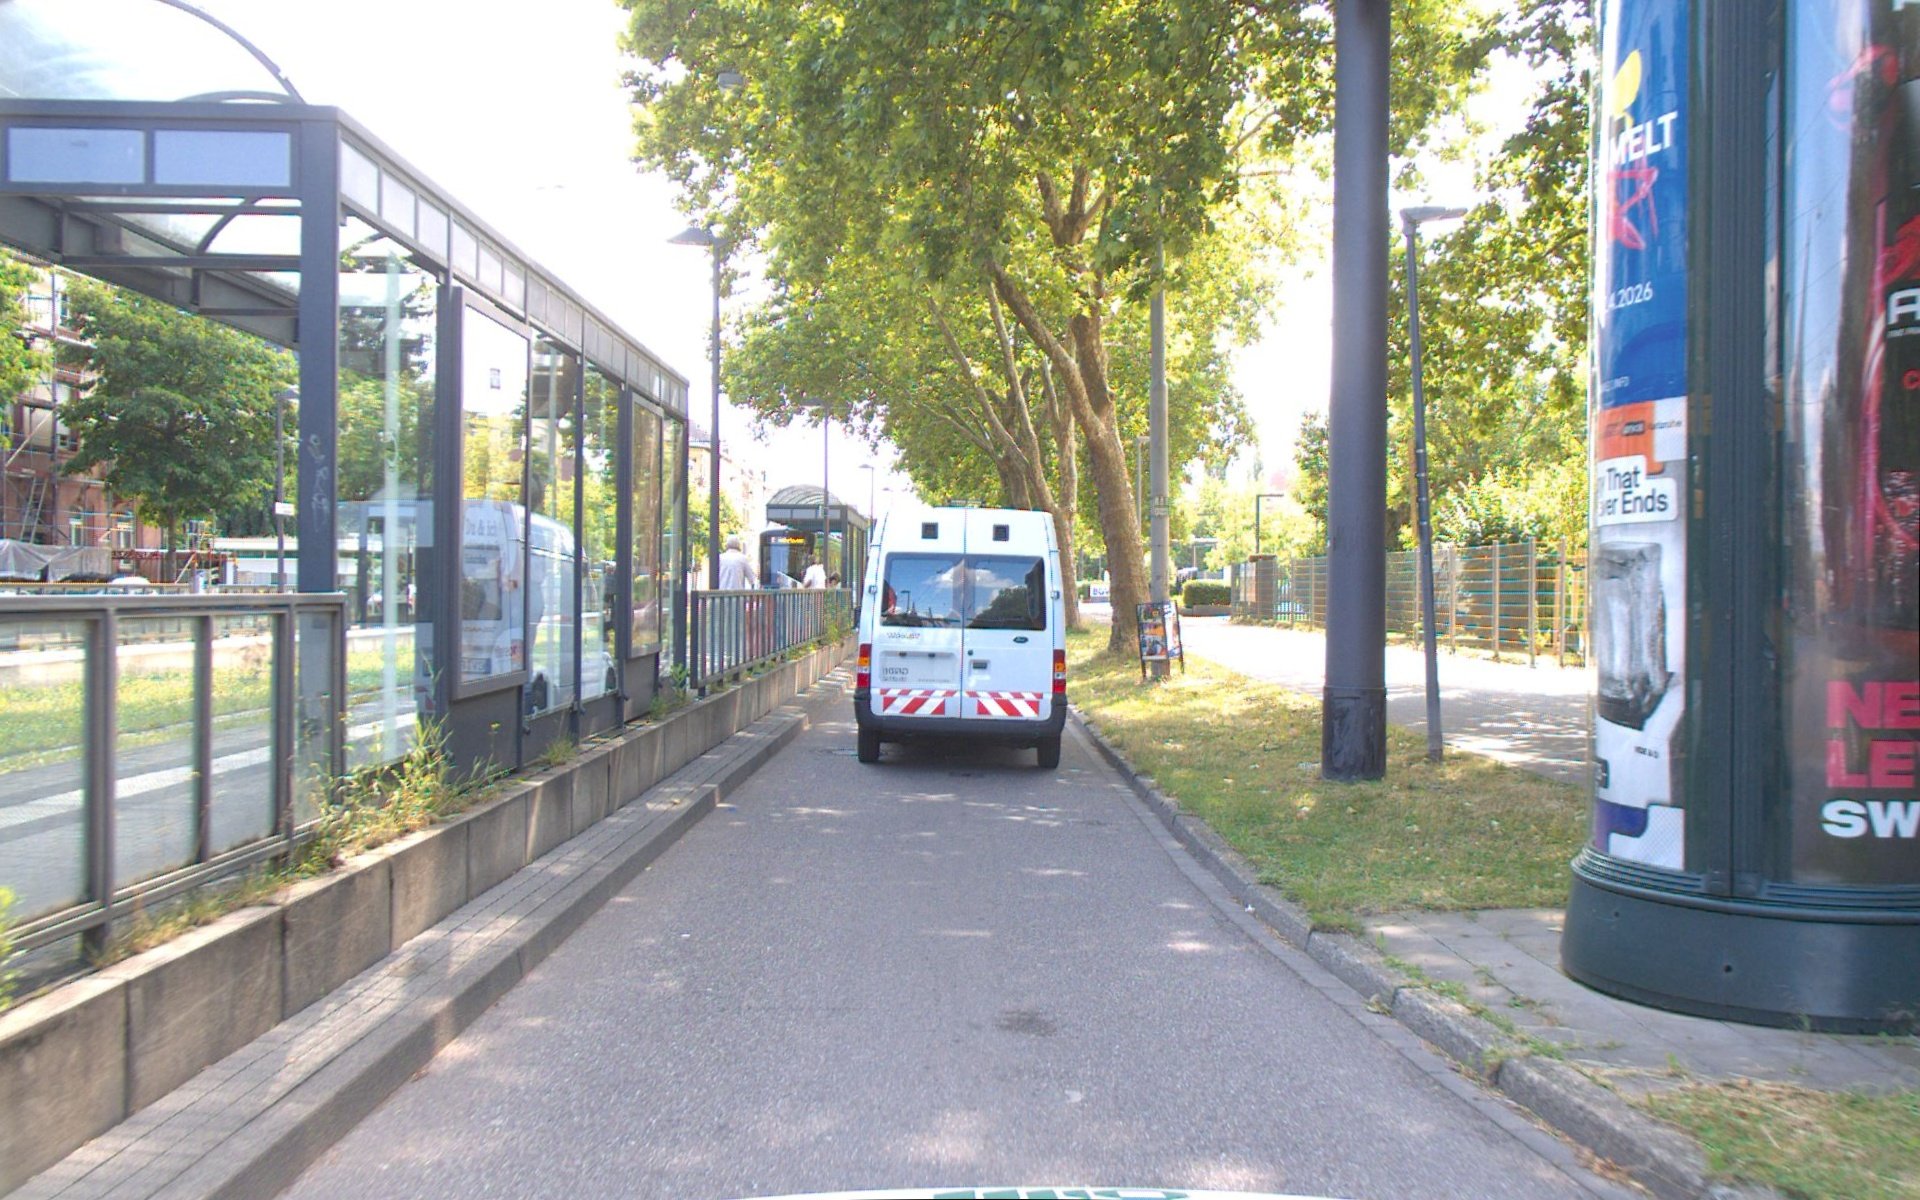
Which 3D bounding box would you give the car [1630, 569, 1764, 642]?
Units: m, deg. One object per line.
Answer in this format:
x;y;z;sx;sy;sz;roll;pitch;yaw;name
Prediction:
19.749;0.116;44.533;1.769;1.846;4.340;1;0;1;car

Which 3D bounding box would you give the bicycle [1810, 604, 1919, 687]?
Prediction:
12.847;0.619;23.280;0.594;1.092;1.835;0;1;-9;bicycle

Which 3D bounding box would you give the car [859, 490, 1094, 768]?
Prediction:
0.100;0.217;16.528;2.005;2.373;4.713;0;1;-1;car

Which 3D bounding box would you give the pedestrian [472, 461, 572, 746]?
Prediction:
-2.624;0.018;9.943;0.461;1.670;0.537;0;0;-1;pedestrian

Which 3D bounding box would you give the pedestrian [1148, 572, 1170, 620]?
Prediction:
6.886;-0.157;57.263;0.679;1.654;0.637;0;0;-1;pedestrian

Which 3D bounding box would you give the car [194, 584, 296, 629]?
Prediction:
-22.951;0.191;53.205;1.684;1.395;3.704;0;1;0;car

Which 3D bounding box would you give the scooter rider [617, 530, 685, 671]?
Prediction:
-3.663;-0.001;19.661;0.641;1.642;0.901;0;0;-1;scooter rider

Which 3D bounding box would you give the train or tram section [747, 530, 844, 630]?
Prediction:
-6.490;-0.779;67.246;2.668;3.646;13.015;1;0;0;train or tram section

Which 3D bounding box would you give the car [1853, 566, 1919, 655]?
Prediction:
20.081;0.212;33.082;1.702;1.786;4.770;1;0;-2;car

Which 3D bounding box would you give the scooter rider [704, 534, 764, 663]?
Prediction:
-2.849;-0.026;20.891;0.641;1.598;0.901;0;0;-1;scooter rider

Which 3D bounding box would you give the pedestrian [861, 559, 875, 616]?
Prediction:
-2.596;-0.357;46.676;0.377;1.619;0.439;0;0;-1;pedestrian

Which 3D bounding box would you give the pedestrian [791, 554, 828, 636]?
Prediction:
-2.882;-0.098;31.640;0.662;1.542;0.596;0;0;-1;pedestrian

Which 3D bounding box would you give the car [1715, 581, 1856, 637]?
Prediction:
22.267;0.220;44.790;1.770;1.427;4.047;1;0;0;car

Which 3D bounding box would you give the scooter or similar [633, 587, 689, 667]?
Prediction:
-3.671;0.324;20.345;0.619;0.972;0.421;0;0;-1;scooter or similar
